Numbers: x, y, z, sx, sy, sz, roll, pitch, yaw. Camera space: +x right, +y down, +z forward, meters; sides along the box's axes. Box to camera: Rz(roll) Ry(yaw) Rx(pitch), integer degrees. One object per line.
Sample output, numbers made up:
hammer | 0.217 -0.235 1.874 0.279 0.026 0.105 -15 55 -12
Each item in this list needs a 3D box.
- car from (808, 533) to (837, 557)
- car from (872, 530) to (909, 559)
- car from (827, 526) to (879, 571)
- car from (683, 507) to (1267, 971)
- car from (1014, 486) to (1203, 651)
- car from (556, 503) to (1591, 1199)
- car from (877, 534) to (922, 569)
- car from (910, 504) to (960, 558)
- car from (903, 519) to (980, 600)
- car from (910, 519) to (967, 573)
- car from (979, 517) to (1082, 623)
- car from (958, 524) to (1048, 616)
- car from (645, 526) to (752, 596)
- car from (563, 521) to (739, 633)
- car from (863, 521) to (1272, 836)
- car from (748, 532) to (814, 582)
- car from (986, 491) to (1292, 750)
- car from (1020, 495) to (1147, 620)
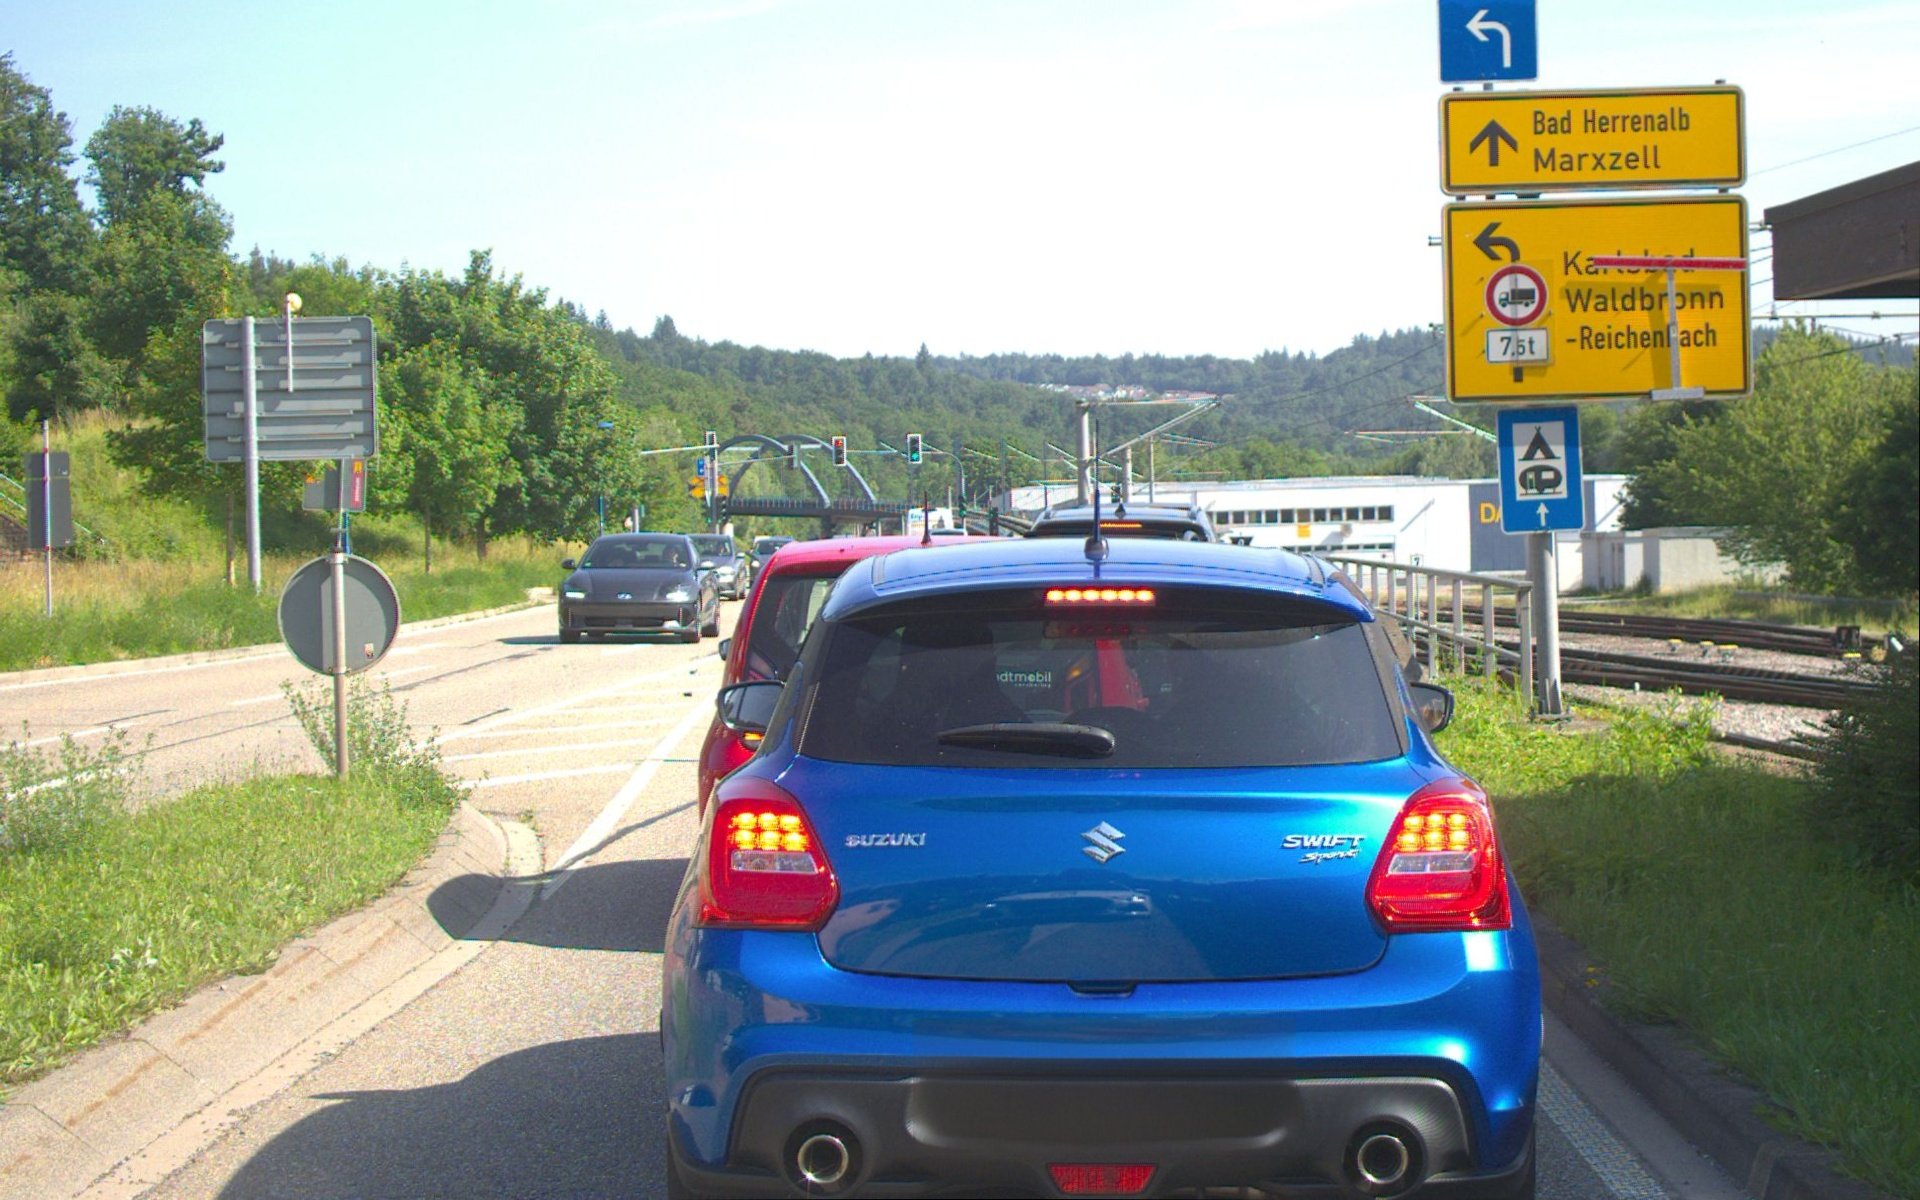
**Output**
car | -9.833 -3.926 246.224 1.993 1.659 4.000 1 1 -1
car | -3.838 -3.084 191.036 1.993 1.585 4.000 1 1 -1
car | -4.401 -2.135 141.274 1.993 1.777 4.000 1 1 0
car | 0.100 0.448 13.901 1.993 1.566 4.000 1 1 1
car | 1.661 -0.393 39.204 1.993 1.730 4.000 2 1 1
car | 0.175 0.555 8.231 1.868 1.543 4.000 0 1 -1
car | -2.835 -2.298 161.752 1.993 1.549 4.215 1 1 0
car | -1.021 -2.821 140.556 1.993 2.137 4.720 1 1 0
car | -0.504 -1.116 93.078 1.993 2.006 4.001 2 2 0
car | -0.787 -1.993 126.109 1.993 1.810 4.001 2 2 0
car | 1.426 -0.645 71.112 1.993 2.006 4.001 2 2 0
car | 0.993 -0.738 81.200 1.993 2.006 4.001 2 2 0
car | -6.064 -0.935 80.122 1.993 1.558 4.509 0 1 2
car | -4.206 -0.358 47.467 1.791 1.465 4.716 0 1 3
car | 0.584 0.335 19.165 1.993 1.526 4.602 -1 1 1
car | -5.334 -1.296 102.640 1.672 1.436 3.840 1 1 1
car | 1.253 0.083 25.241 1.993 1.681 4.497 2 1 1
car | 2.106 -0.770 59.587 1.993 2.006 4.001 2 2 0
